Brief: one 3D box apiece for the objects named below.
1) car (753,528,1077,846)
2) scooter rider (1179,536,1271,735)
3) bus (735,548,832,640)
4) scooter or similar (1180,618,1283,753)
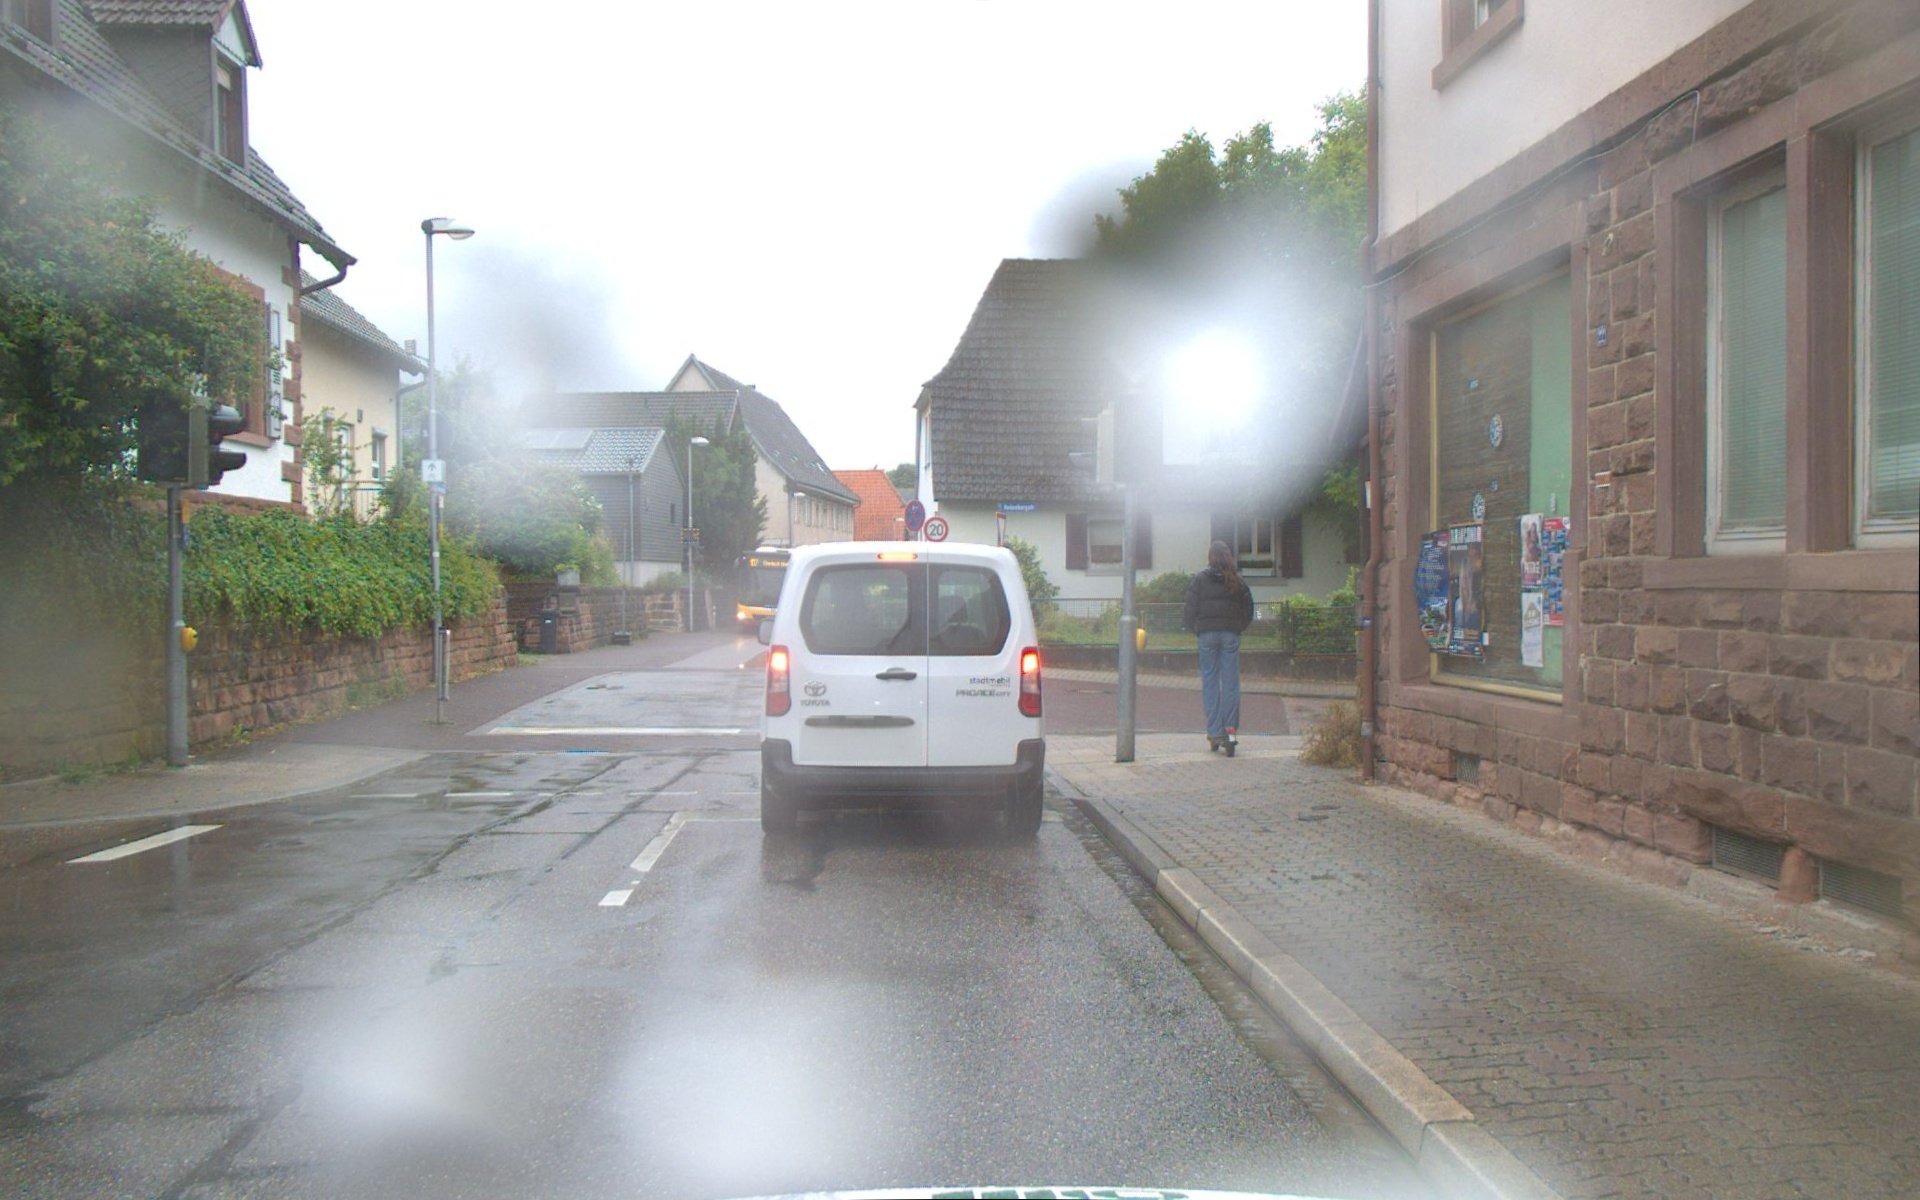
[{"bbox_3d":[-0.373,0.498,11.547,1.857,1.825,3.811,1,0,-4],"label":"car"},{"bbox_3d":[2.383,0.319,14.921,0.716,1.764,0.517,0,-2,-4],"label":"scooter rider"},{"bbox_3d":[-6.382,-0.379,61.528,2.596,3.051,12.191,0,2,-1],"label":"bus"},{"bbox_3d":[2.404,0.743,14.797,0.608,1.147,1.401,0,-1,-4],"label":"scooter or similar"}]
